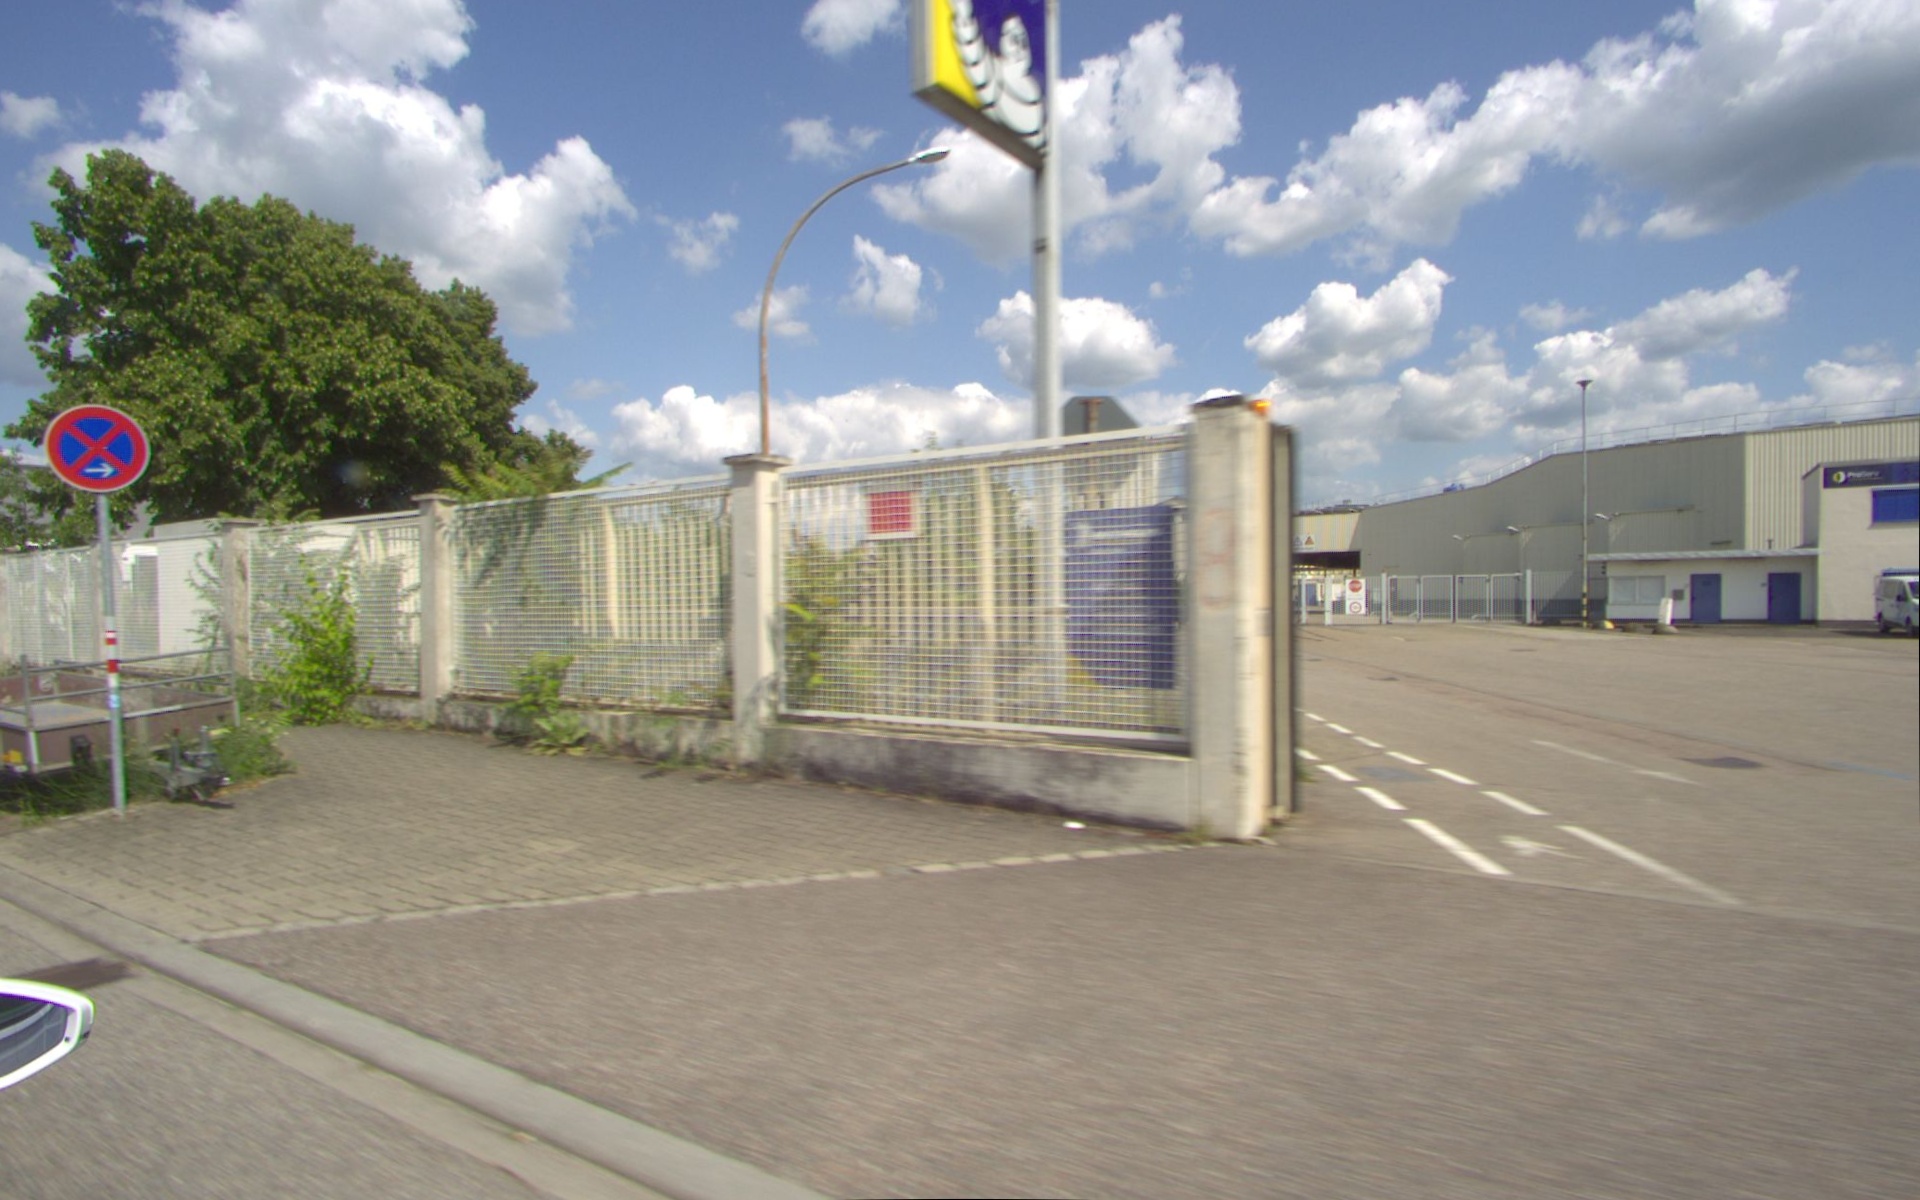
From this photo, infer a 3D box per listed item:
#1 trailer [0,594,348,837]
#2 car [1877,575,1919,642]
[{"bbox_3d":[-7.182,0.768,8.048,4.479,1.437,1.746,-1,3,28],"label":"trailer"},{"bbox_3d":[32.422,0.222,33.322,1.907,2.060,4.380,-1,2,30],"label":"car"}]
